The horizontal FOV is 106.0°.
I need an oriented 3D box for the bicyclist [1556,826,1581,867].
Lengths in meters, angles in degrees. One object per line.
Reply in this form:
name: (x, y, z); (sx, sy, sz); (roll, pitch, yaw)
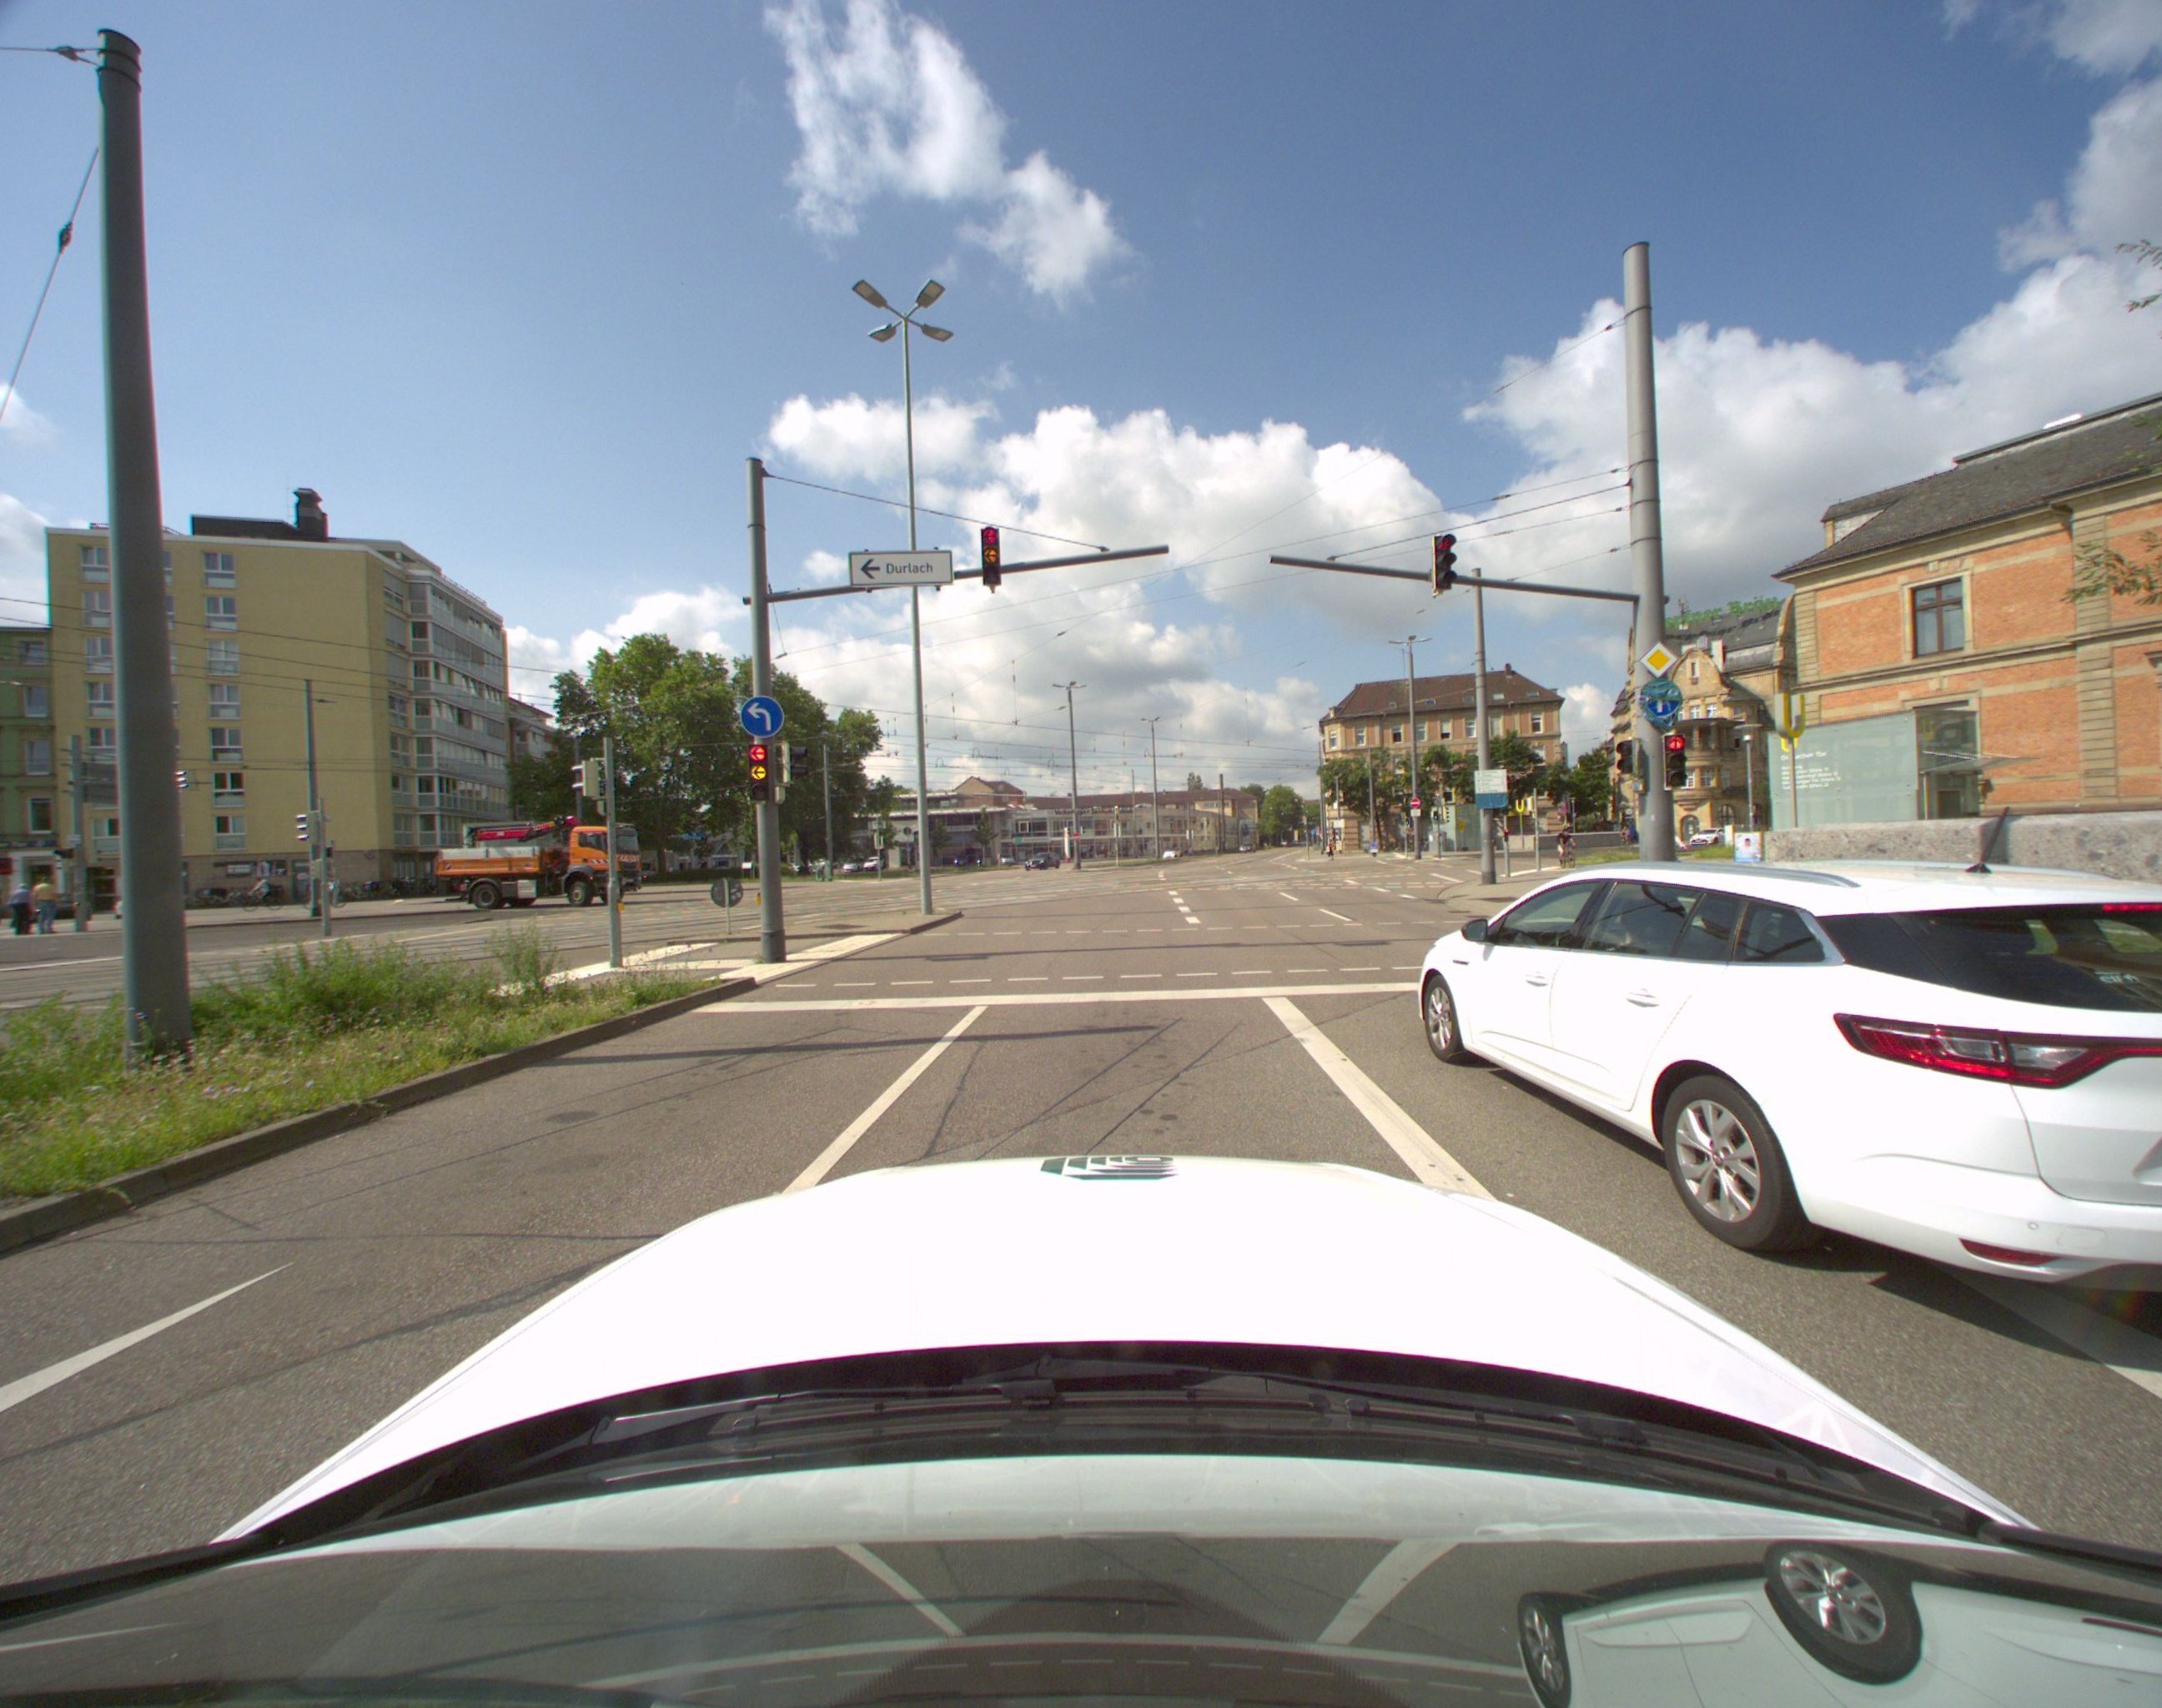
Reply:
bicyclist: (20.772, -0.330, 34.721); (0.573, 1.672, 0.941); (-3, 0, 15)

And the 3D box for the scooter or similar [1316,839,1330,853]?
scooter or similar: (25.344, -0.806, 85.410); (1.169, 1.386, 2.813); (-1, -1, 11)

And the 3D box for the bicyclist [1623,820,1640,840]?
bicyclist: (48.011, -2.106, 71.013); (1.147, 1.674, 0.612); (-2, 0, -16)

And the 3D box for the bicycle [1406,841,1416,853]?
bicycle: (33.407, -0.742, 82.450); (0.752, 1.166, 2.698); (-1, -1, 20)

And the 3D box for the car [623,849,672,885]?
car: (-39.020, 1.173, 73.467); (1.996, 3.043, 7.215); (-2, 0, -13)

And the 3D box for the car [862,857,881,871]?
car: (-27.456, 1.305, 106.760); (1.783, 1.682, 3.991); (-2, 0, -6)

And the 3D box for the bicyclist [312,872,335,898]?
bicyclist: (-39.604, 1.633, 42.561); (0.391, 1.336, 0.786); (-1, -1, 11)

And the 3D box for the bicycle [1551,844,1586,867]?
bicycle: (20.786, 0.072, 34.753); (0.753, 0.875, 1.817); (-5, 0, 15)

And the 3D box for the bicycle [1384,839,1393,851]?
bicycle: (31.456, -0.909, 83.426); (0.752, 1.165, 2.698); (-2, 0, 19)

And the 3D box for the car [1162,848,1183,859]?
car: (11.984, -0.055, 106.514); (1.670, 1.470, 3.676); (-1, -1, 23)

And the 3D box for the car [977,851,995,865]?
car: (-12.216, 0.503, 105.038); (1.989, 1.725, 3.995); (0, -1, -4)

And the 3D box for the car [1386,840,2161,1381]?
car: (3.328, 0.699, 4.487); (1.750, 1.429, 4.678); (-1, -1, 3)

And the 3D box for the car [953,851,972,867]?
car: (-15.358, 0.648, 105.654); (1.989, 1.838, 3.996); (-3, 0, -2)

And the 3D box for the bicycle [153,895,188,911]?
bicycle: (-54.982, 2.957, 49.189); (1.463, 0.922, 0.291); (-1, -1, -17)

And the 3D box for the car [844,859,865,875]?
car: (-29.533, 1.646, 106.392); (1.991, 2.014, 3.991); (1, -1, -6)

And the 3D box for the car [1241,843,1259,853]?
car: (26.670, -0.943, 128.494); (1.976, 1.574, 3.757); (-2, 0, 23)

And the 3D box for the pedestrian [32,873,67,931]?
pedestrian: (-36.366, 1.675, 28.714); (0.579, 2.013, 0.423); (-2, 0, -26)

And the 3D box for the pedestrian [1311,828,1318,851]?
pedestrian: (31.221, -1.965, 108.765); (0.718, 3.076, 0.893); (-1, -1, 26)

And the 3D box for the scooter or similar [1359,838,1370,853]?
scooter or similar: (29.064, -0.839, 83.502); (0.871, 1.482, 2.023); (-2, 0, 17)

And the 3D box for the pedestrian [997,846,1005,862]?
pedestrian: (-10.174, -0.004, 103.312); (0.868, 2.013, 0.702); (-2, 0, -6)

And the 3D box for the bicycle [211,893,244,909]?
bicycle: (-52.436, 2.885, 50.039); (1.461, 0.922, 0.292); (0, -1, -14)

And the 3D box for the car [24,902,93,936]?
car: (-51.425, 3.248, 40.923); (4.540, 1.460, 1.951); (-3, -1, 36)

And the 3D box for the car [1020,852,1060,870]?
car: (-3.449, 0.562, 69.351); (1.849, 1.376, 3.961); (-2, 0, 21)

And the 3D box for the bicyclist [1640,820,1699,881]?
bicyclist: (14.709, -0.084, 20.379); (0.631, 1.457, 1.171); (-2, 0, 3)

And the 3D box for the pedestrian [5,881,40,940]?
pedestrian: (-37.263, 1.963, 28.672); (0.517, 2.013, 0.499); (-2, 0, -26)

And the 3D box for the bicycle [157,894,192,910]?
bicycle: (-55.068, 2.926, 49.496); (1.463, 0.922, 0.291); (-2, 0, -17)

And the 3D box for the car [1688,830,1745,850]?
car: (53.969, -1.166, 69.146); (4.513, 1.596, 1.941); (0, -1, -25)

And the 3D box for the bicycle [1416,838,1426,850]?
bicycle: (34.344, -0.995, 82.282); (0.752, 1.165, 2.698); (-2, 0, 19)

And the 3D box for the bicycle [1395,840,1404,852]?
bicycle: (32.429, -0.816, 83.040); (0.752, 1.165, 2.698); (-2, 0, 20)

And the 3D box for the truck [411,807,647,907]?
truck: (-23.263, 0.142, 34.645); (8.022, 4.009, 2.836); (-1, -1, -1)

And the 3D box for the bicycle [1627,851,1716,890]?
bicycle: (14.723, 0.395, 20.397); (0.648, 0.897, 2.277); (-2, 0, 3)

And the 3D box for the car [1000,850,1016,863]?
car: (-9.580, 0.388, 106.836); (1.926, 1.683, 3.990); (0, -1, -7)

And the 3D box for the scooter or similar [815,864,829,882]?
scooter or similar: (-18.376, 1.348, 57.807); (1.051, 1.196, 0.384); (-1, -1, 39)

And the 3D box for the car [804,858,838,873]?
car: (-36.198, 1.580, 113.501); (3.965, 2.014, 2.004); (-1, -1, 7)

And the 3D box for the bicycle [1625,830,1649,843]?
bicycle: (48.237, -1.517, 70.625); (1.781, 0.956, 0.840); (-3, -1, -23)

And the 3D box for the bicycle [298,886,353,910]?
bicycle: (-39.577, 2.278, 42.696); (0.539, 1.106, 2.108); (-2, 0, 13)

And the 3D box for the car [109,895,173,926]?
car: (-48.737, 2.933, 42.220); (3.451, 1.453, 1.790); (-4, -1, 35)

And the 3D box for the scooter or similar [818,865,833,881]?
scooter or similar: (-18.353, 1.366, 58.419); (1.051, 1.196, 0.384); (-1, -1, 29)

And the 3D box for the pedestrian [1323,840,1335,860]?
pedestrian: (19.527, -0.307, 64.152); (0.733, 1.516, 0.548); (-2, 0, 25)
